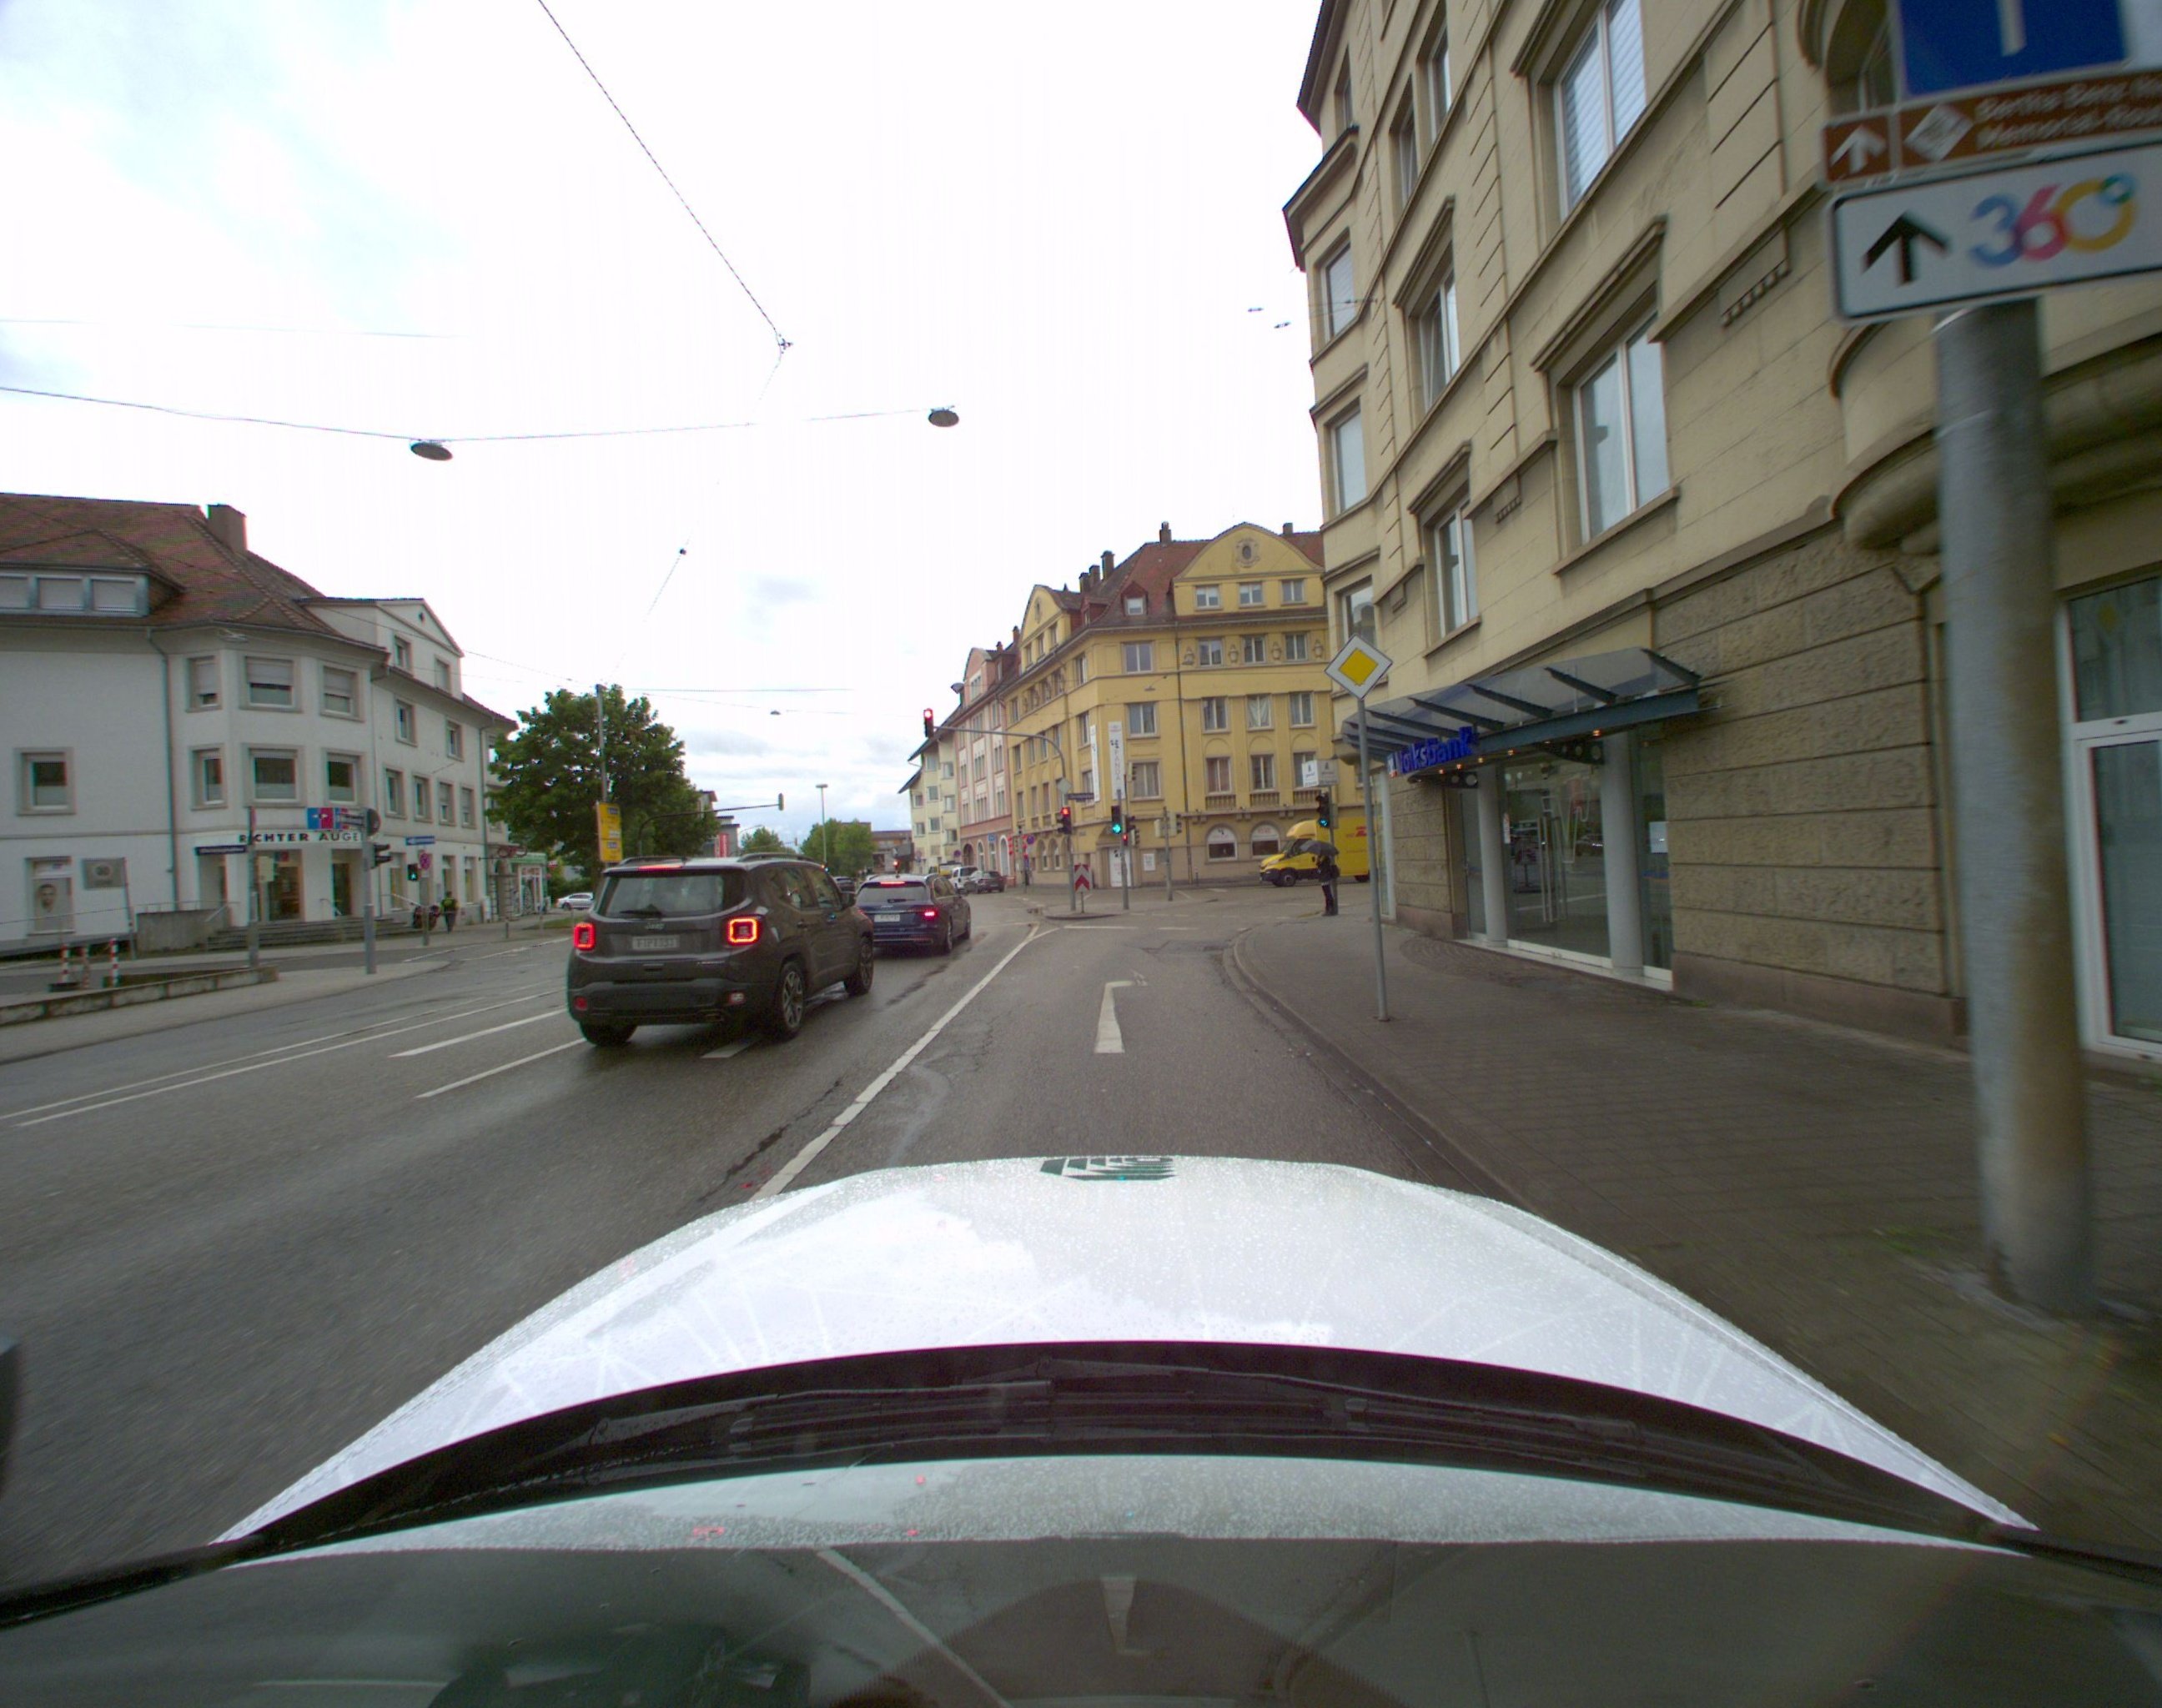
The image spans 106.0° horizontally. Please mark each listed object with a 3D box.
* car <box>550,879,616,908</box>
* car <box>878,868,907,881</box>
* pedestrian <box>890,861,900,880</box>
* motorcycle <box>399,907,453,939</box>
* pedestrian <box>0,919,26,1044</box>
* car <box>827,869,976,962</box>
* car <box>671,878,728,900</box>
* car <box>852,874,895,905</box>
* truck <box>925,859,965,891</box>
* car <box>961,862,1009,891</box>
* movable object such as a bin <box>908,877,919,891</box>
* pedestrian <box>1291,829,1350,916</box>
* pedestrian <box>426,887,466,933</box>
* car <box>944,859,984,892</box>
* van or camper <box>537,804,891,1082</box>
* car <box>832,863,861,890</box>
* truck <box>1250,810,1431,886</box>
[{"bbox_3d":[-39.569,3.130,64.830,3.992,1.881,1.817,-4,0,-13],"label":"car"},{"bbox_3d":[-29.771,3.171,128.530,4.016,2.014,1.979,0,-1,-34],"label":"car"},{"bbox_3d":[-18.627,1.666,81.717,0.726,1.937,0.786,-3,-1,-25],"label":"pedestrian"},{"bbox_3d":[-28.446,2.964,35.433,0.720,1.178,2.577,-3,-1,-13],"label":"motorcycle"},{"bbox_3d":[-13.823,1.602,10.076,0.763,1.529,0.505,-1,-2,-19],"label":"pedestrian"},{"bbox_3d":[-3.171,1.035,15.345,1.798,1.406,4.681,-3,-1,-1],"label":"car"},{"bbox_3d":[-33.932,3.110,72.519,3.975,1.750,1.999,-3,-1,-1],"label":"car"},{"bbox_3d":[-13.732,2.318,53.663,2.003,1.816,3.966,-3,-1,-25],"label":"car"},{"bbox_3d":[-10.624,1.622,63.259,2.035,2.389,4.203,-2,-1,-23],"label":"truck"},{"bbox_3d":[-6.100,1.382,51.427,1.886,1.637,3.970,-3,1,-22],"label":"car"},{"bbox_3d":[-14.826,2.624,72.231,0.751,1.231,0.976,2,-2,-22],"label":"movable object such as a bin"},{"bbox_3d":[5.545,0.424,18.814,1.047,1.904,1.031,-4,-1,26],"label":"pedestrian"},{"bbox_3d":[-24.885,2.167,31.925,0.966,1.708,0.927,-3,0,-24],"label":"pedestrian"},{"bbox_3d":[-8.356,1.514,57.740,1.770,2.180,3.968,-2,-1,-23],"label":"car"},{"bbox_3d":[-3.469,0.744,8.706,1.849,2.146,4.140,-3,-1,-1],"label":"van or camper"},{"bbox_3d":[-19.052,1.821,66.010,2.000,2.013,3.973,-3,-1,-19],"label":"car"},{"bbox_3d":[11.193,-0.235,35.502,7.066,2.851,2.083,-3,-1,1],"label":"truck"}]
